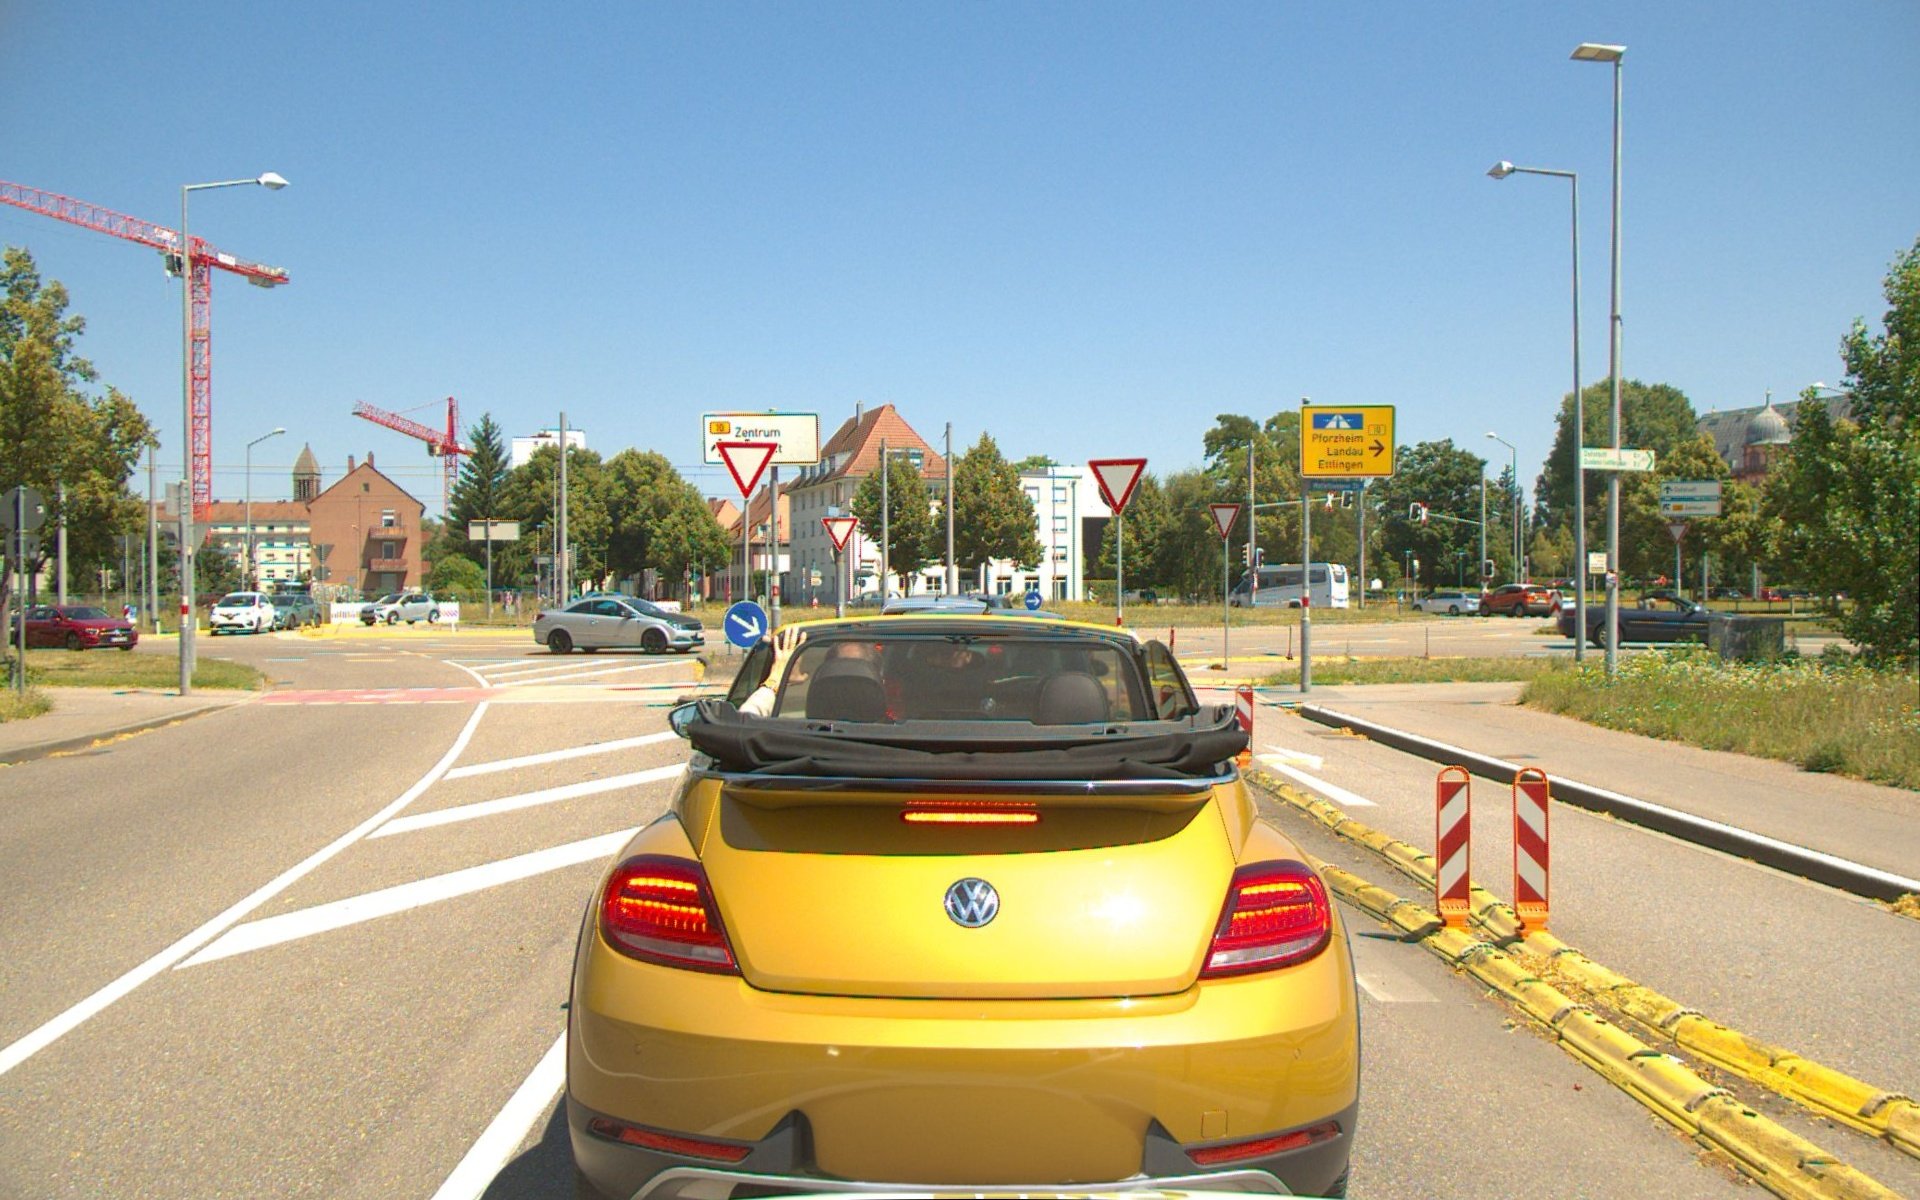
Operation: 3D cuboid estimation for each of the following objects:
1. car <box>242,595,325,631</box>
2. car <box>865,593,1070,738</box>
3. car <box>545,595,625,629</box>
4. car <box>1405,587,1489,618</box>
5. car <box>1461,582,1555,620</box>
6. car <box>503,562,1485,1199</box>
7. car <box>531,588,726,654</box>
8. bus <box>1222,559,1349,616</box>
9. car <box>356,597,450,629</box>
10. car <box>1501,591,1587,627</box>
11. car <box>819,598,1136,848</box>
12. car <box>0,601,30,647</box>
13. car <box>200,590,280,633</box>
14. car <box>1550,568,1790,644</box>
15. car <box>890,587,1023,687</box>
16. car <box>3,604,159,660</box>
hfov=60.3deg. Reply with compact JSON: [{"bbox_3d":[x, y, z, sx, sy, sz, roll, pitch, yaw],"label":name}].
[{"bbox_3d":[-27.950,0.535,68.465,1.711,1.395,4.329,1,0,-2],"label":"car"},{"bbox_3d":[0.045,0.659,18.601,2.023,1.406,4.257,1,0,-1],"label":"car"},{"bbox_3d":[-21.029,0.680,92.846,3.967,1.803,1.847,1,-1,-43],"label":"car"},{"bbox_3d":[28.402,0.123,96.494,1.833,1.766,4.375,1,0,-43],"label":"car"},{"bbox_3d":[26.529,0.022,80.208,1.820,1.766,4.407,1,0,-26],"label":"car"},{"bbox_3d":[0.034,0.709,5.063,1.729,1.507,4.257,1,0,-1],"label":"car"},{"bbox_3d":[-8.217,0.513,41.117,4.311,1.554,2.002,-1,0,13],"label":"car"},{"bbox_3d":[19.120,-0.765,97.424,7.136,3.228,2.251,1,0,38],"label":"bus"},{"bbox_3d":[-26.239,0.605,78.014,1.693,1.427,4.267,1,0,26],"label":"car"},{"bbox_3d":[29.940,0.456,84.900,1.764,1.803,3.954,1,0,-33],"label":"car"},{"bbox_3d":[0.072,0.706,11.666,1.814,1.389,4.257,-1,0,-1],"label":"car"},{"bbox_3d":[-35.688,0.826,59.279,4.319,1.623,1.998,1,0,27],"label":"car"},{"bbox_3d":[-27.164,0.423,62.550,1.742,1.554,3.866,-1,0,-7],"label":"car"},{"bbox_3d":[17.571,0.136,41.187,5.199,1.766,2.002,1,0,13],"label":"car"},{"bbox_3d":[-0.082,0.550,27.585,2.023,1.506,4.542,-1,0,-1],"label":"car"},{"bbox_3d":[-26.405,0.946,49.696,4.319,1.554,1.998,1,0,27],"label":"car"}]
